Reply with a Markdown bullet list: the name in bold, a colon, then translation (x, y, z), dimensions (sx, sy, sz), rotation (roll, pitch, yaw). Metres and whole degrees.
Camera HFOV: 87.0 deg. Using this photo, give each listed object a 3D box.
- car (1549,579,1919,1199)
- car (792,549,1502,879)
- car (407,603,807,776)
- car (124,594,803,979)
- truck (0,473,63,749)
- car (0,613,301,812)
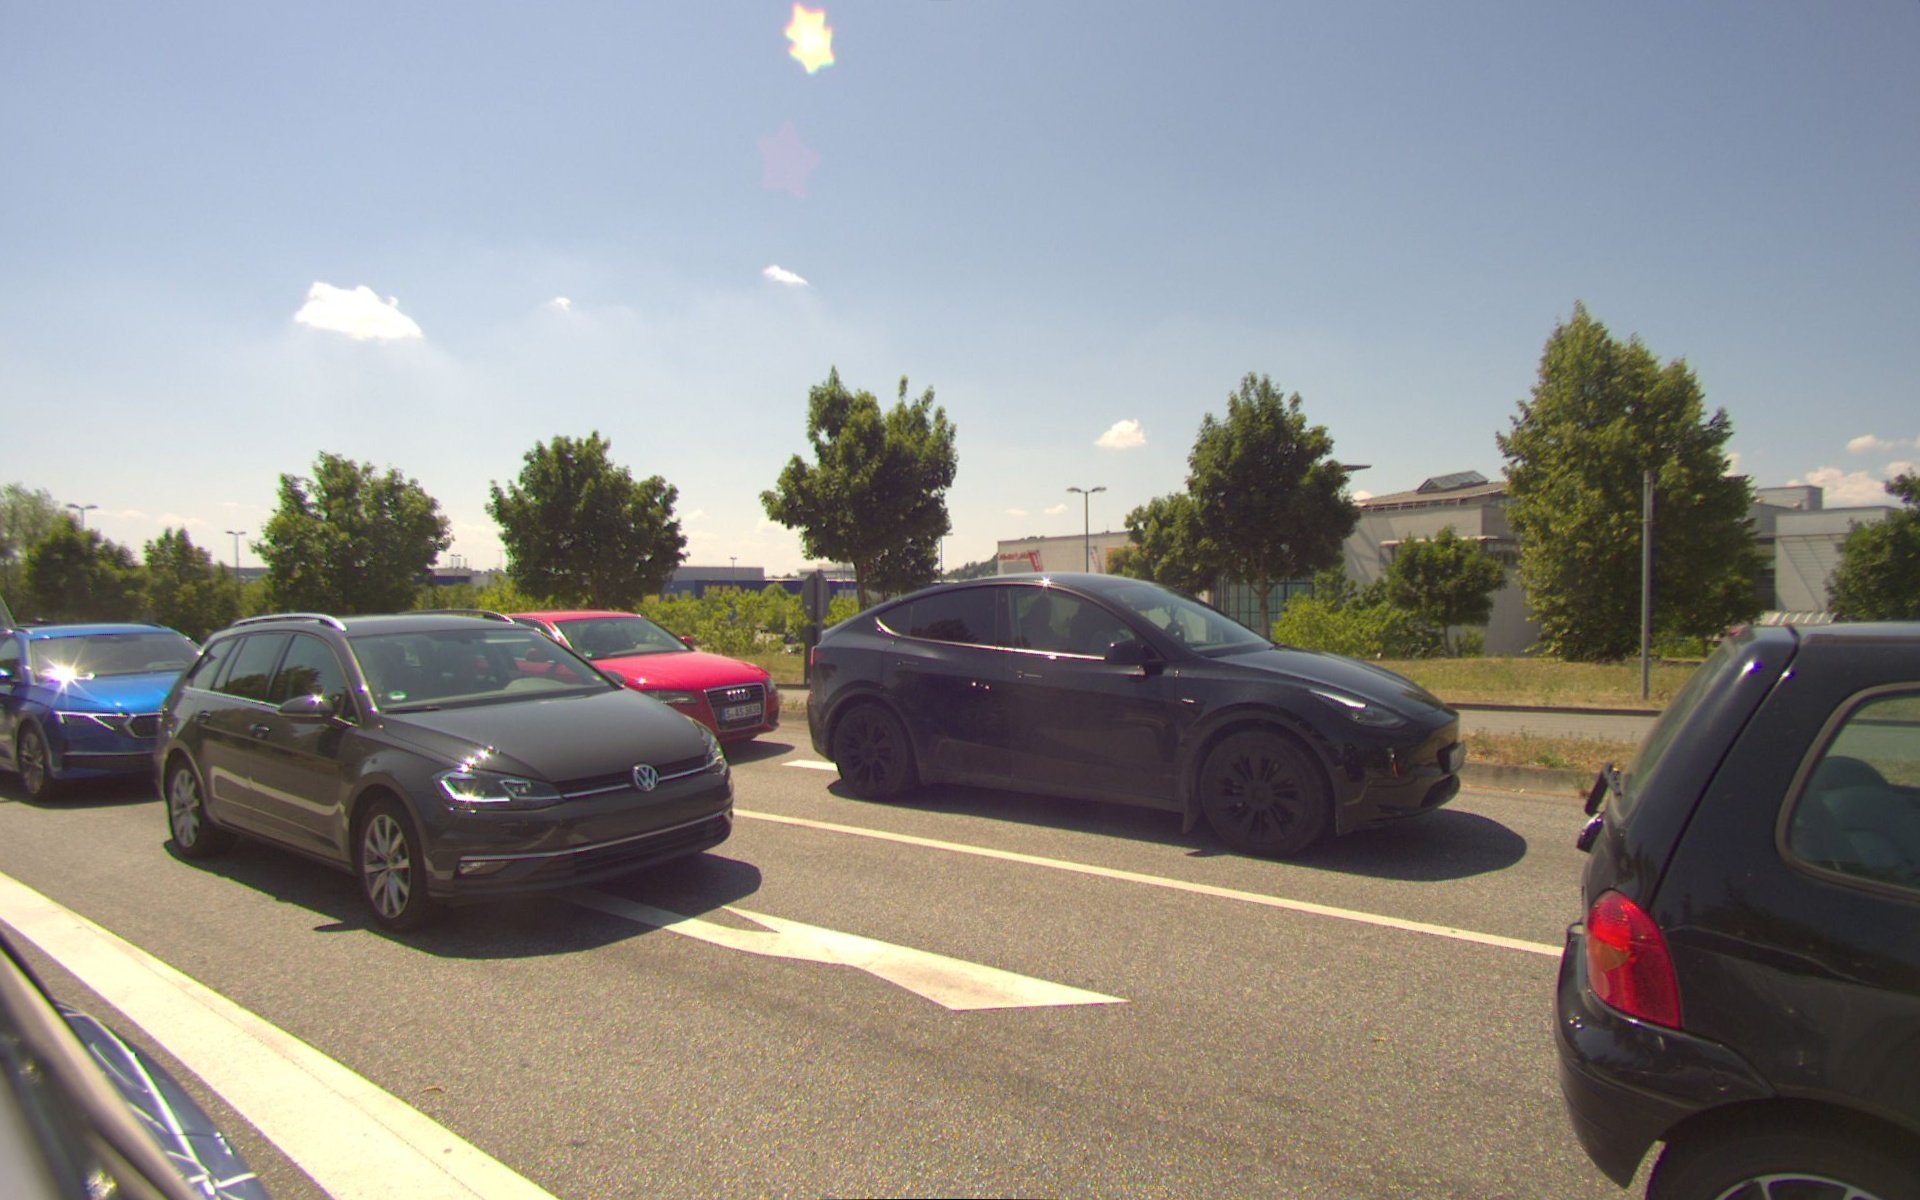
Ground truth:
- **car**: translation (2.877, 0.665, 1.508), dimensions (3.295, 1.418, 1.604), rotation (-1, -1, 37)
- **car**: translation (1.102, 0.578, 7.027), dimensions (4.496, 1.613, 1.859), rotation (-1, 0, 36)
- **car**: translation (-3.774, 0.780, 10.466), dimensions (4.440, 1.399, 1.646), rotation (-1, 1, 36)
- **car**: translation (-3.135, 0.762, 5.976), dimensions (4.420, 1.493, 1.762), rotation (-1, 0, 36)
- **truck**: translation (-15.116, 0.280, 13.701), dimensions (7.176, 3.373, 2.390), rotation (-3, -1, 31)
- **car**: translation (-8.327, 0.945, 9.623), dimensions (4.474, 1.473, 1.695), rotation (-2, 0, 32)
